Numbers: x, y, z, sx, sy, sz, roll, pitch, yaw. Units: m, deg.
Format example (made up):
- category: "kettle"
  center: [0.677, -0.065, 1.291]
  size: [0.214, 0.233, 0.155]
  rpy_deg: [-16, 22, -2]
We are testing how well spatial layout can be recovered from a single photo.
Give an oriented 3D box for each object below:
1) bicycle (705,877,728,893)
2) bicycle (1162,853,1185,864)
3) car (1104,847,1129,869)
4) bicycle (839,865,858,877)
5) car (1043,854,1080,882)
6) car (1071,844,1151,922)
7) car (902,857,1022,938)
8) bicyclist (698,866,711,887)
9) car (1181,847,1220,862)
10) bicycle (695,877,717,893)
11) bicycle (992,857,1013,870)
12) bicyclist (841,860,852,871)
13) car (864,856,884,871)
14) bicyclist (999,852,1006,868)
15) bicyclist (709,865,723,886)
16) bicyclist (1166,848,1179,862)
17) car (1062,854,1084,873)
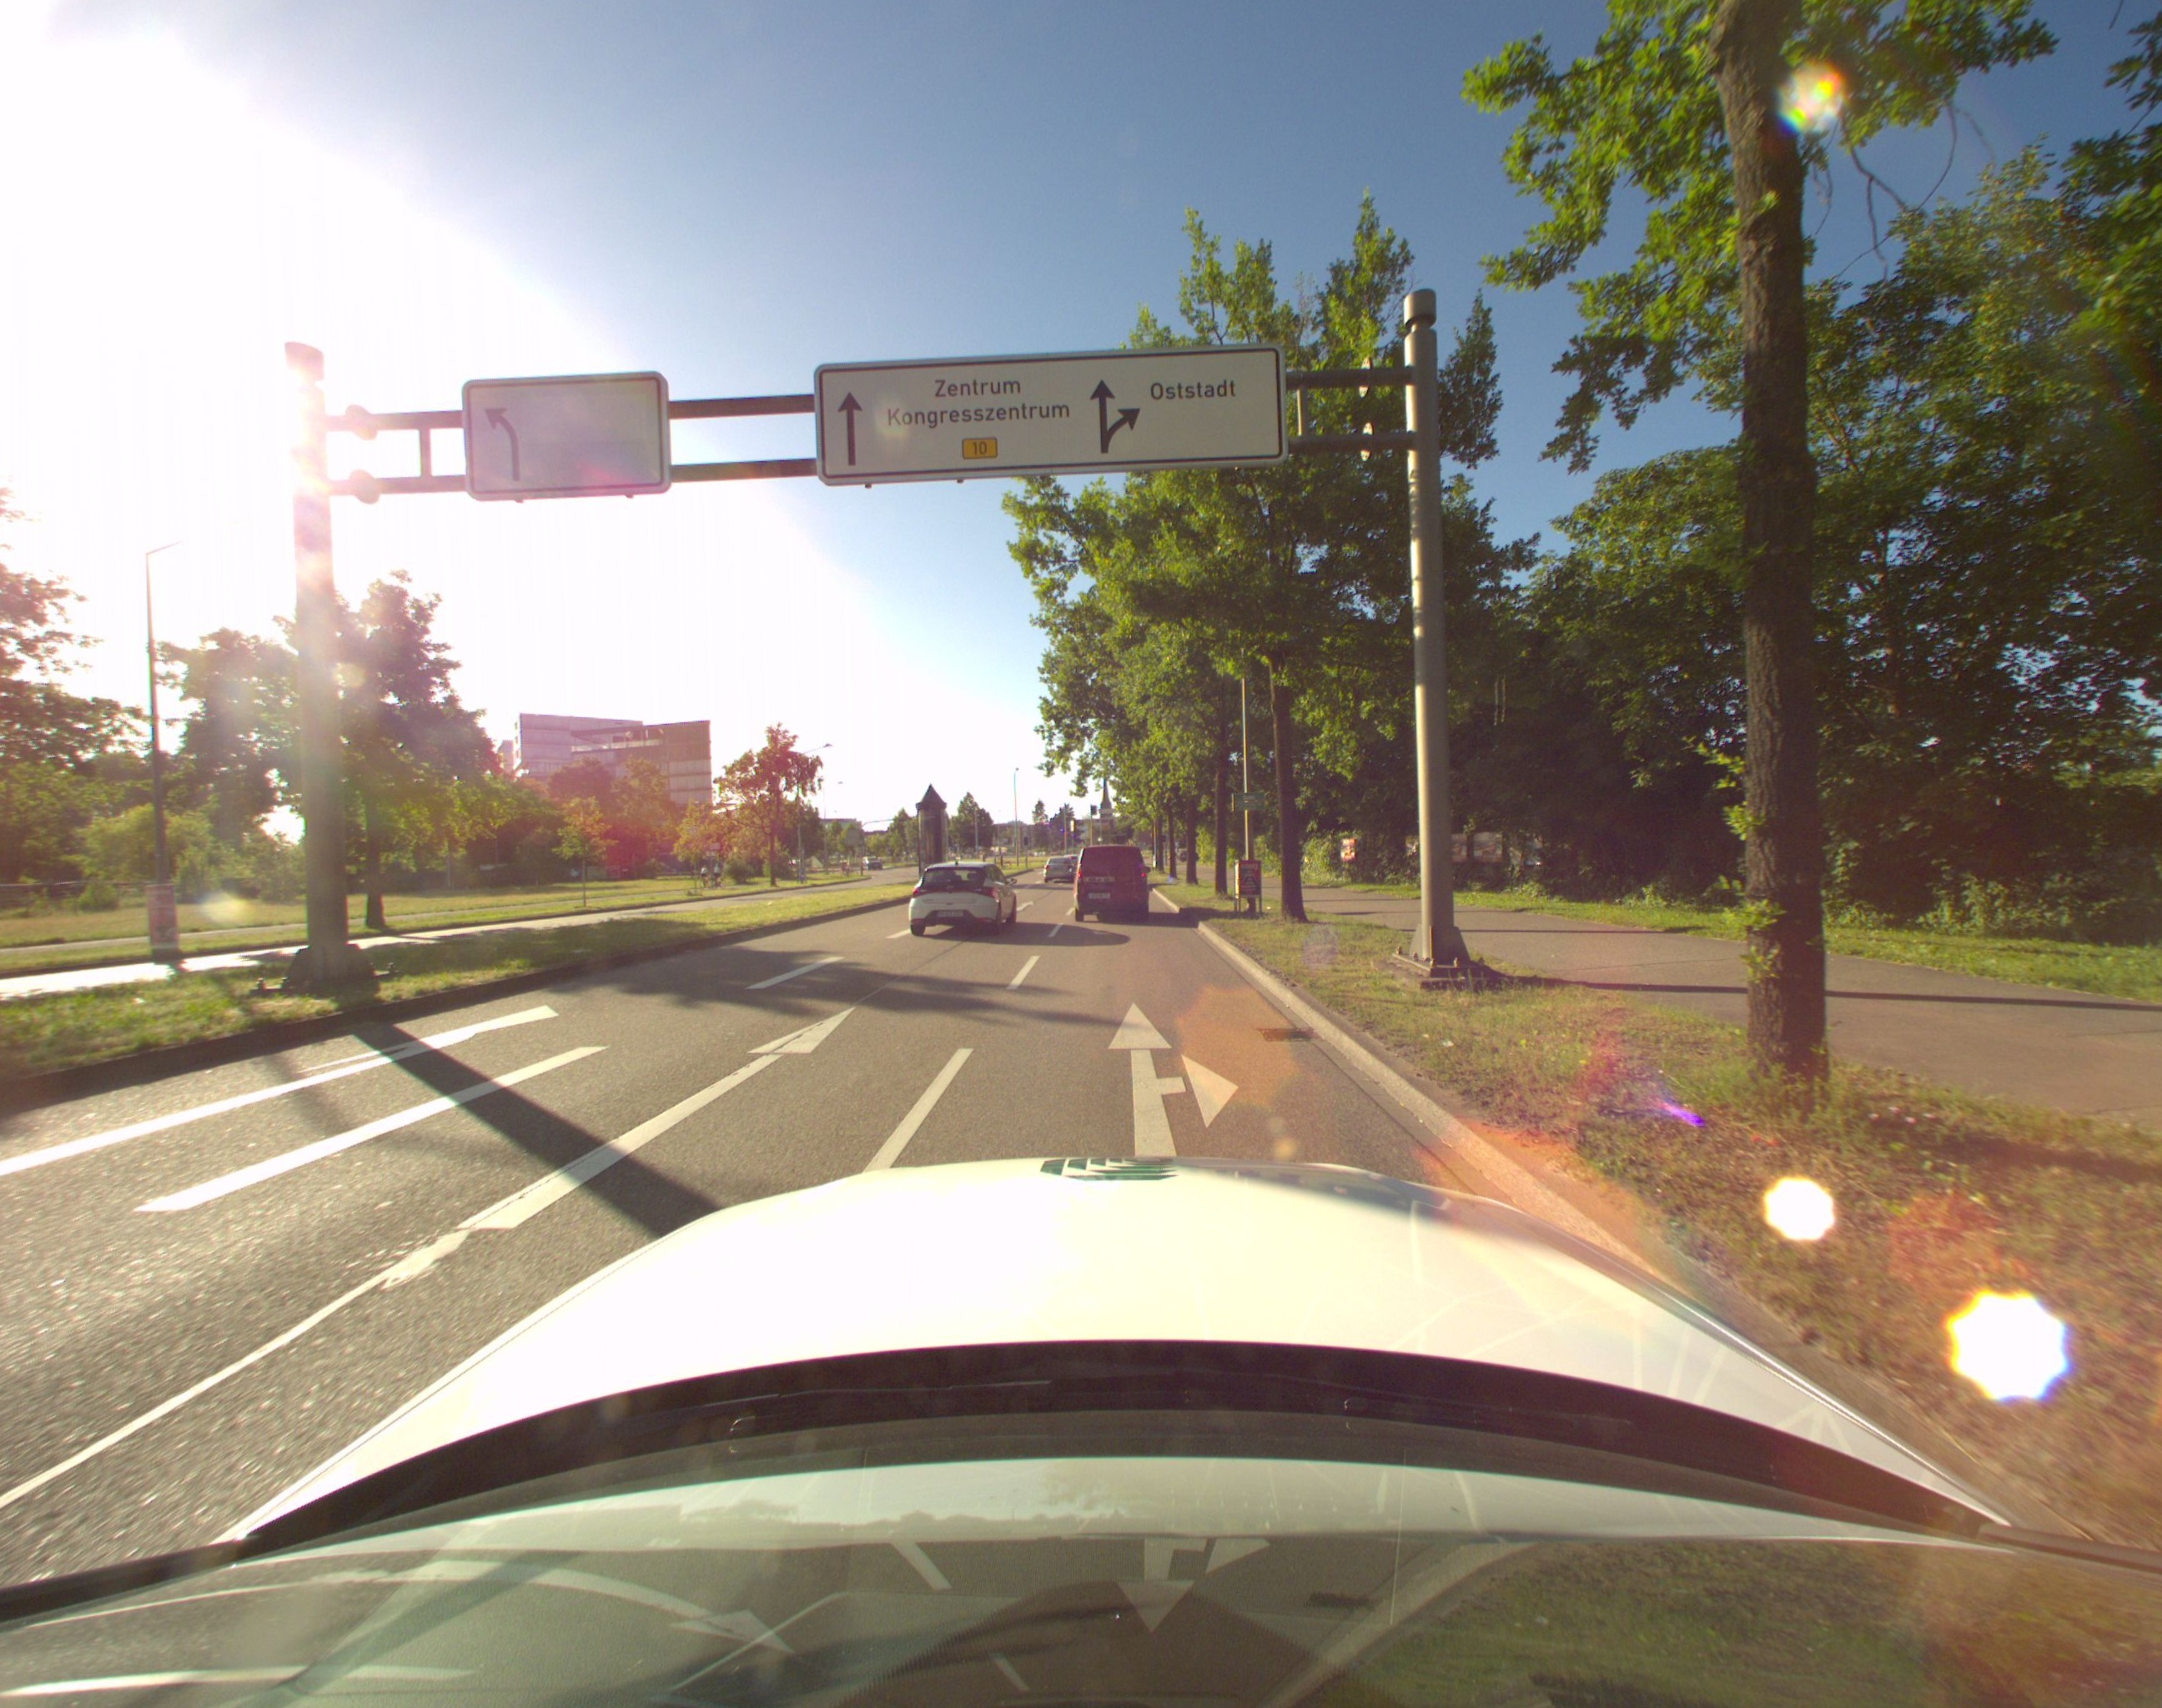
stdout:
- category: "bicycle"
  center: [-24.688, 2.071, 55.214]
  size: [0.568, 1.003, 2.097]
  rpy_deg: [-2, 0, 1]
- category: "bicycle"
  center: [9.100, 0.451, 80.111]
  size: [2.133, 0.958, 0.781]
  rpy_deg: [-2, 0, -30]
- category: "car"
  center: [3.119, 0.307, 70.643]
  size: [1.649, 1.761, 3.508]
  rpy_deg: [-2, 0, 10]
- category: "bicycle"
  center: [-22.365, 1.641, 78.325]
  size: [1.714, 1.107, 0.607]
  rpy_deg: [-2, 0, 14]
- category: "car"
  center: [-1.086, 0.788, 47.188]
  size: [1.834, 1.456, 4.165]
  rpy_deg: [-1, 1, 2]
- category: "car"
  center: [0.748, 0.635, 20.504]
  size: [1.799, 1.759, 4.008]
  rpy_deg: [-1, 1, 2]
- category: "car"
  center: [-2.406, 0.832, 17.486]
  size: [1.771, 1.408, 4.077]
  rpy_deg: [-1, 1, 2]
- category: "bicyclist"
  center: [-25.757, 1.514, 55.717]
  size: [0.480, 1.394, 0.844]
  rpy_deg: [-2, 0, 1]
- category: "car"
  center: [12.937, 0.061, 88.140]
  size: [3.938, 1.625, 1.760]
  rpy_deg: [-1, 0, -31]
- category: "bicycle"
  center: [-25.731, 2.111, 55.864]
  size: [0.485, 1.003, 2.097]
  rpy_deg: [-2, 0, 1]
- category: "bicycle"
  center: [-7.506, 0.871, 78.012]
  size: [1.952, 1.166, 0.517]
  rpy_deg: [-2, 0, 0]
- category: "bicyclist"
  center: [-22.536, 1.104, 78.368]
  size: [0.729, 1.107, 0.607]
  rpy_deg: [-2, 0, 15]
- category: "car"
  center: [-26.549, 1.195, 104.413]
  size: [1.643, 1.876, 3.964]
  rpy_deg: [-2, 0, -27]
- category: "bicyclist"
  center: [-7.537, 0.554, 78.011]
  size: [0.601, 1.468, 0.517]
  rpy_deg: [-2, 0, 0]
- category: "bicyclist"
  center: [-24.715, 1.466, 55.162]
  size: [0.560, 1.392, 0.747]
  rpy_deg: [-2, 0, 1]
- category: "bicyclist"
  center: [8.958, 0.103, 80.047]
  size: [0.974, 1.249, 0.781]
  rpy_deg: [-2, 0, -30]
- category: "car"
  center: [-0.625, 0.780, 68.814]
  size: [1.655, 1.398, 3.560]
  rpy_deg: [-2, 1, 2]
